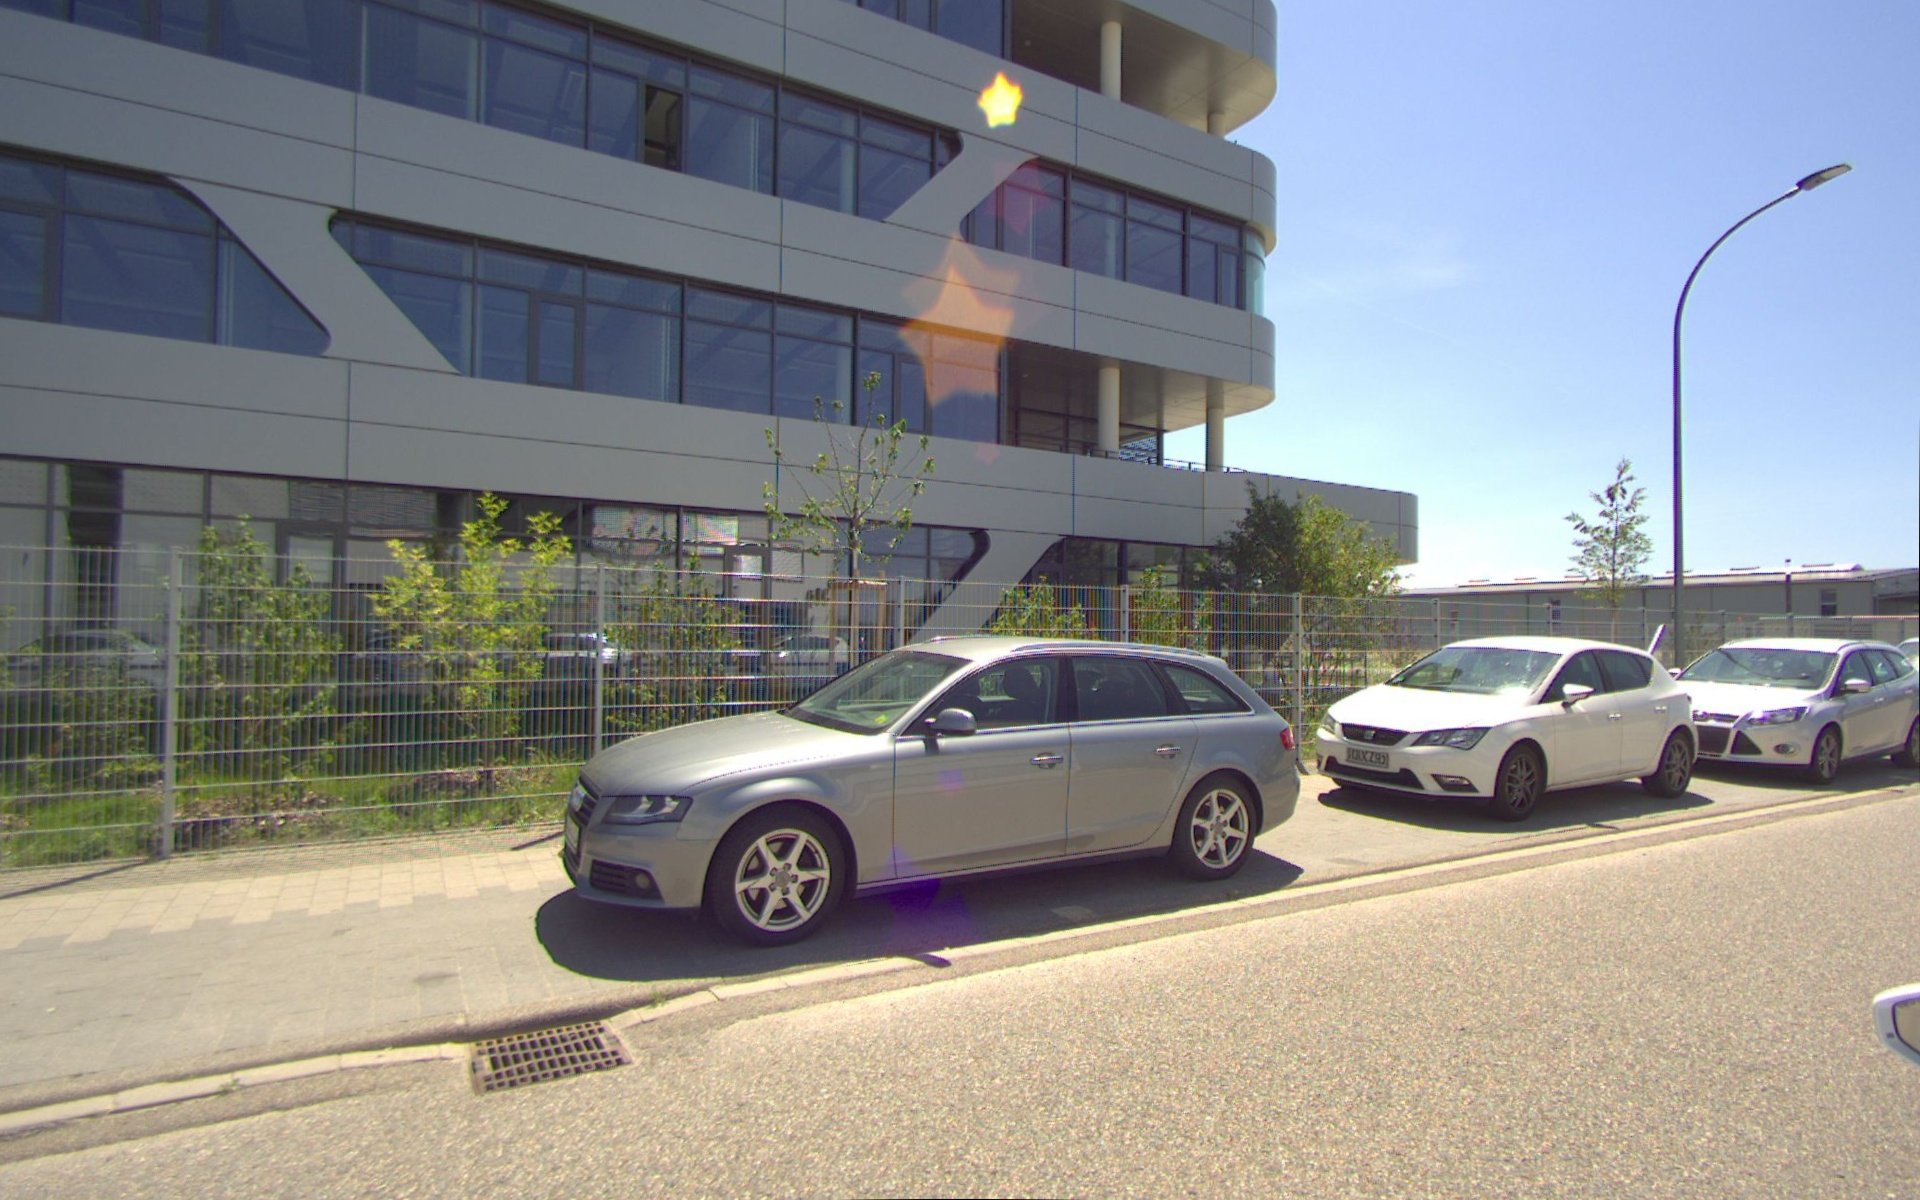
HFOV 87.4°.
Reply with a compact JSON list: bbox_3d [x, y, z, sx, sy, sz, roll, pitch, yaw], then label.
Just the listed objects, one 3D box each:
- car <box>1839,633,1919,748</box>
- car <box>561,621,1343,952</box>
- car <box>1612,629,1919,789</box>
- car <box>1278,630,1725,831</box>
[{"bbox_3d":[14.675,1.306,14.759,3.616,1.556,1.626,2,-1,-31],"label":"car"},{"bbox_3d":[0.115,0.849,6.162,4.583,1.404,1.676,1,-1,-30],"label":"car"},{"bbox_3d":[9.830,1.169,11.935,4.520,1.556,1.694,2,-1,-31],"label":"car"},{"bbox_3d":[5.160,1.060,9.393,4.389,1.463,1.694,2,-1,-31],"label":"car"}]
